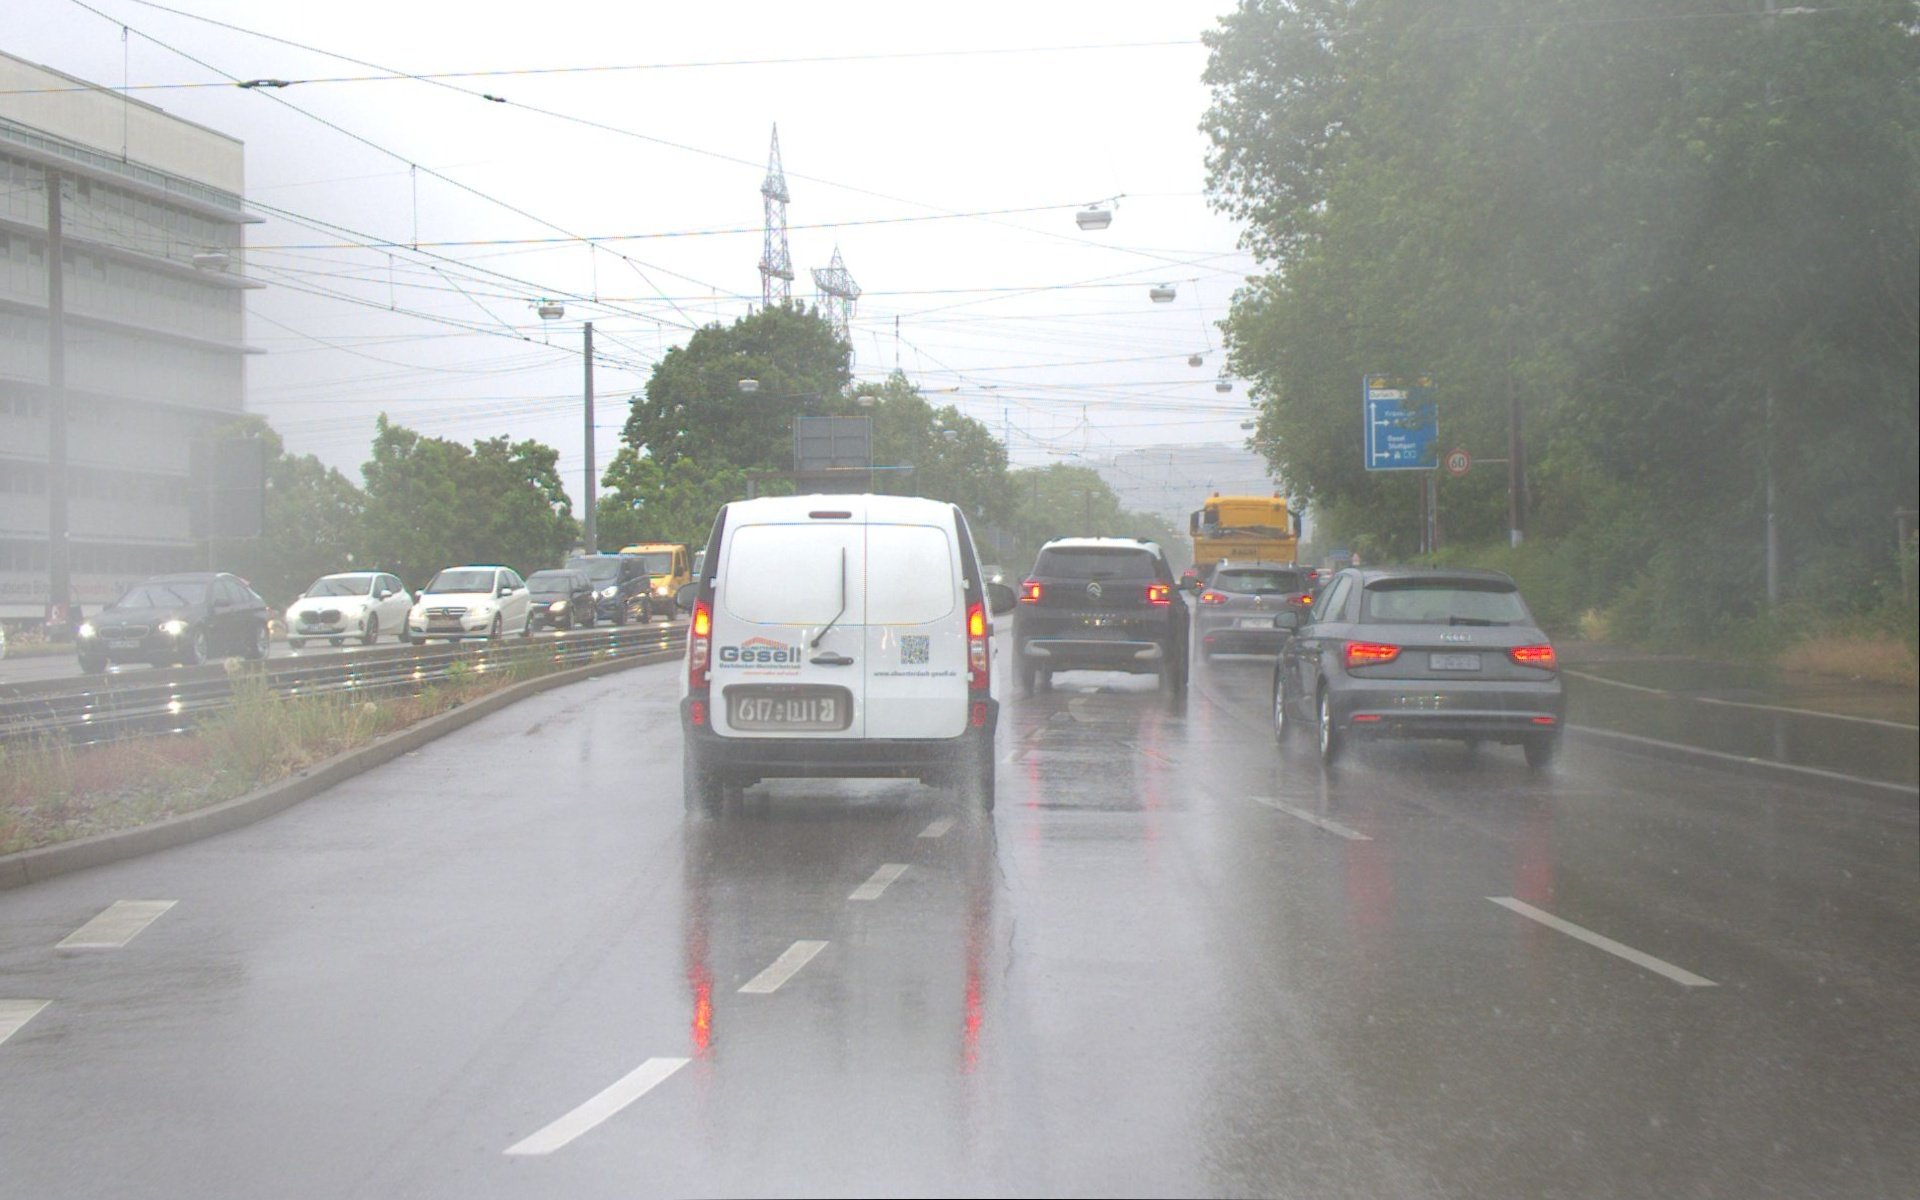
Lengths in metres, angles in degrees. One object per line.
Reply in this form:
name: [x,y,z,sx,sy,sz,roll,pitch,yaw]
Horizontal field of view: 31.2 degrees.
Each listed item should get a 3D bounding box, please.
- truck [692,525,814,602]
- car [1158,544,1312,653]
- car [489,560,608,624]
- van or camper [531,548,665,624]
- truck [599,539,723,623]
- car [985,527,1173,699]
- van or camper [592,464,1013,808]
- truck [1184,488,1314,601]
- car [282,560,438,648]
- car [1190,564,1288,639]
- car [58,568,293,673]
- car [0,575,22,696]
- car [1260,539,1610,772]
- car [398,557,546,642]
truck: [-6.883,-1.230,115.483,2.436,2.449,7.216,1,1,10]
car: [3.791,-0.051,47.971,1.818,1.409,3.779,0,1,0]
car: [-10.786,-0.222,90.464,1.859,1.612,4.906,-2,0,8]
van or camper: [-10.051,-0.408,95.875,2.305,2.007,5.684,1,1,9]
truck: [-9.105,-0.592,105.293,2.228,2.453,6.064,1,1,10]
car: [1.278,0.083,37.350,1.899,1.711,4.726,0,1,2]
van or camper: [-0.805,0.122,20.134,1.994,1.778,4.000,1,2,4]
truck: [7.417,-1.409,87.521,3.113,2.764,6.328,0,1,6]
car: [-12.927,0.072,74.365,1.994,1.828,4.691,-1,0,8]
car: [5.742,0.009,70.429,1.818,1.409,3.777,1,1,7]
car: [-12.274,0.280,54.154,1.923,1.418,5.082,1,2,8]
car: [-16.181,0.552,52.343,1.994,1.895,4.789,1,0,7]
car: [3.377,0.340,25.197,1.967,1.523,3.991,0,1,0]
car: [-9.999,-0.043,70.707,1.874,1.568,4.327,1,2,8]
